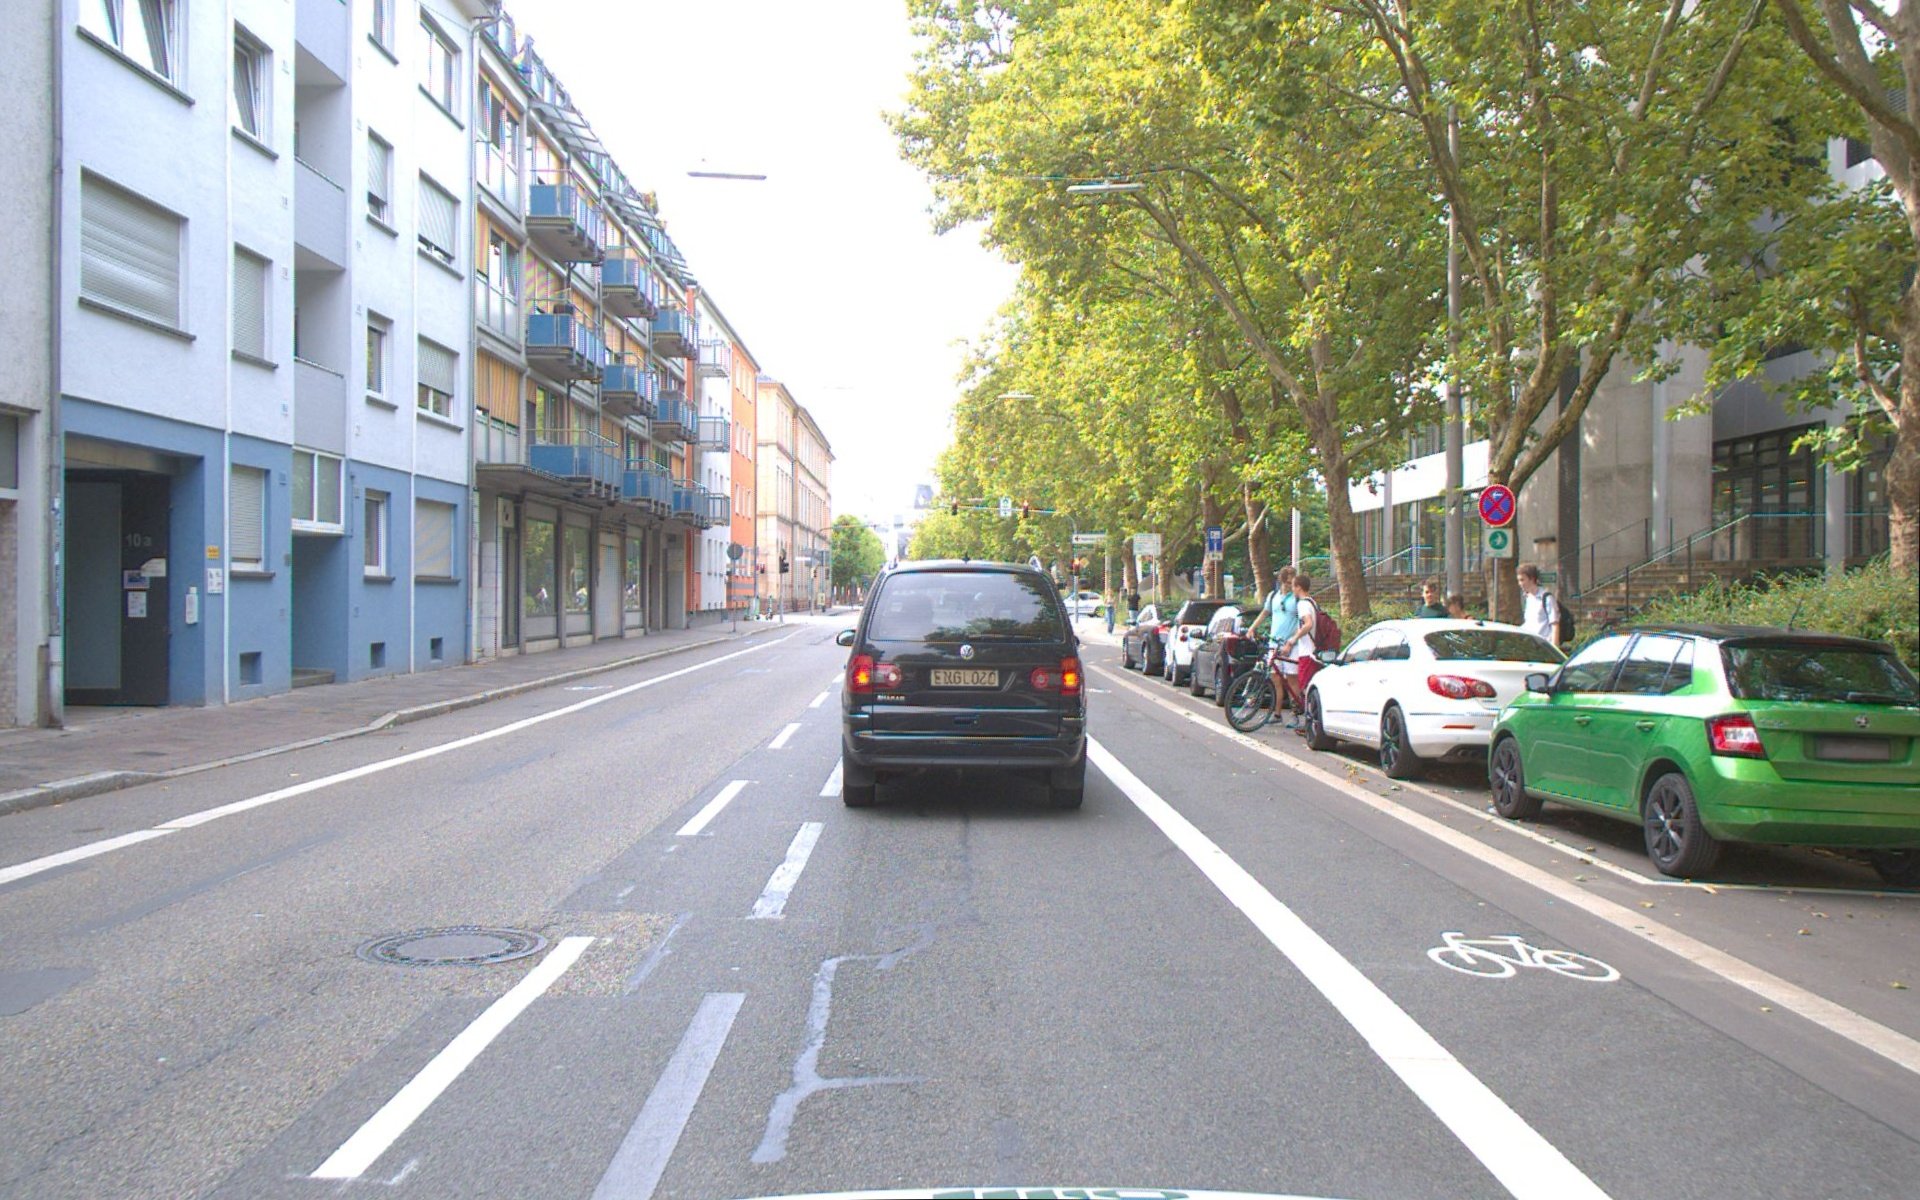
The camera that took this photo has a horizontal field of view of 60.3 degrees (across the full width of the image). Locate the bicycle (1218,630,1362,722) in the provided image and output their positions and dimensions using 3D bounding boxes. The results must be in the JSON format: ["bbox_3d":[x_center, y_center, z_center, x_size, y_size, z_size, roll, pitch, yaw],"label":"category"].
[{"bbox_3d":[4.189,0.963,20.995,1.704,1.125,0.550,1,0,-12],"label":"bicycle"}]

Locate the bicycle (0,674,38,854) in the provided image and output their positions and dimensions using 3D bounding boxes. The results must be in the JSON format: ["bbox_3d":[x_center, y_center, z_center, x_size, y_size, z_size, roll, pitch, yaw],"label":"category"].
[{"bbox_3d":[-5.912,0.974,9.018,0.633,1.032,2.076,-1,0,-1],"label":"bicycle"}]

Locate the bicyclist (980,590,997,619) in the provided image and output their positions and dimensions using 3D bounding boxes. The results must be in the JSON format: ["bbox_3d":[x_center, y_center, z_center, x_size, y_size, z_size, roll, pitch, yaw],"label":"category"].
[{"bbox_3d":[1.552,0.264,90.887,0.839,1.594,0.576,1,0,-9],"label":"bicyclist"}]

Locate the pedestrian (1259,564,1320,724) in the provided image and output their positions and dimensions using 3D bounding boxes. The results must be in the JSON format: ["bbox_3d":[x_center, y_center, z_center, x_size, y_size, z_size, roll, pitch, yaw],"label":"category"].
[{"bbox_3d":[4.126,0.538,20.723,0.466,1.968,0.742,1,0,-12],"label":"pedestrian"}]

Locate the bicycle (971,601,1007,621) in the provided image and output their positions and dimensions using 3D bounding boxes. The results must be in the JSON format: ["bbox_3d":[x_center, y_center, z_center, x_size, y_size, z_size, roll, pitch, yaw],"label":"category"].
[{"bbox_3d":[1.570,0.586,90.880,1.889,1.046,0.582,1,0,-9],"label":"bicycle"}]

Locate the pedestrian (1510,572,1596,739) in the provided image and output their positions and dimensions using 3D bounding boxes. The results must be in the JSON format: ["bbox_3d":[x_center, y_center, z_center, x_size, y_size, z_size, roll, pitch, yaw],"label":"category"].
[{"bbox_3d":[6.898,0.633,19.268,0.706,1.887,0.703,1,0,-1],"label":"pedestrian"}]

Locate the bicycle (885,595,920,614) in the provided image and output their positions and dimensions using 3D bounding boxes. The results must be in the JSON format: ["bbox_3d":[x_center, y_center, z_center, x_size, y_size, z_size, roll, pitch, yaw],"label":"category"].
[{"bbox_3d":[-3.307,0.243,95.264,1.890,1.046,0.582,1,0,-11],"label":"bicycle"}]

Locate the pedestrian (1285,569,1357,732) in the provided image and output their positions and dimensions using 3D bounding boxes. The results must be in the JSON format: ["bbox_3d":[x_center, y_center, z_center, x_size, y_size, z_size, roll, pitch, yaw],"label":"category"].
[{"bbox_3d":[4.235,0.582,19.452,0.511,1.877,0.741,1,0,-16],"label":"pedestrian"}]

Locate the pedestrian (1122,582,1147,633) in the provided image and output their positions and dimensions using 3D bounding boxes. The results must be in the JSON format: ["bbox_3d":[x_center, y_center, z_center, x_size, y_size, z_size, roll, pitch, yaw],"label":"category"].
[{"bbox_3d":[6.364,0.264,60.400,0.700,1.831,1.033,-2,0,-2],"label":"pedestrian"}]

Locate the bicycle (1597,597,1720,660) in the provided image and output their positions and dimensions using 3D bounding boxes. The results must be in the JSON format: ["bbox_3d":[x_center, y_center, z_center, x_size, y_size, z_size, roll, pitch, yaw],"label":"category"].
[{"bbox_3d":[13.216,0.531,31.336,2.037,1.137,0.673,-1,0,-1],"label":"bicycle"}]

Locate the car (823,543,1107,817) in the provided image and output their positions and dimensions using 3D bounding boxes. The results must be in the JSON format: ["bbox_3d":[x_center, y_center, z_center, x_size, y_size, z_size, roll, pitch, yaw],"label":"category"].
[{"bbox_3d":[-0.025,0.506,13.072,1.836,1.775,4.572,0,0,-2],"label":"car"}]

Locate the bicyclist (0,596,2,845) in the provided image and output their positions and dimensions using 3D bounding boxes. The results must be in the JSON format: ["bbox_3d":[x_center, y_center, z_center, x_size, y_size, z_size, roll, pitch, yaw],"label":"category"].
[{"bbox_3d":[-5.919,0.508,9.137,0.638,1.842,1.045,-1,0,-1],"label":"bicyclist"}]

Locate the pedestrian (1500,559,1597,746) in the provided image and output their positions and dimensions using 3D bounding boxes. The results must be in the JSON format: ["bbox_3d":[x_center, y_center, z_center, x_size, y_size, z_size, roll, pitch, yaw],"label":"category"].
[{"bbox_3d":[6.590,0.577,18.565,0.777,2.032,0.750,1,0,-1],"label":"pedestrian"}]

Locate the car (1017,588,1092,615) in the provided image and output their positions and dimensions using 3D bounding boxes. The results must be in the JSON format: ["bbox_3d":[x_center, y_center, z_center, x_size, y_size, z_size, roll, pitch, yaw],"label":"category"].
[{"bbox_3d":[5.457,0.062,95.899,4.012,1.452,1.758,-1,0,-11],"label":"car"}]

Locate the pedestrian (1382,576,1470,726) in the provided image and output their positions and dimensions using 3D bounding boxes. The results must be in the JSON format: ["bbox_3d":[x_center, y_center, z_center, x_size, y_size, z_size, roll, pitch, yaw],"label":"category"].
[{"bbox_3d":[5.891,0.630,20.937,0.853,1.848,0.780,1,0,-1],"label":"pedestrian"}]

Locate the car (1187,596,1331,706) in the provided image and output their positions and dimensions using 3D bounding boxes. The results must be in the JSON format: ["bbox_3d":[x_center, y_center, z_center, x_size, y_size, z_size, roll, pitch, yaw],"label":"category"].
[{"bbox_3d":[4.545,0.734,25.606,1.497,1.528,3.659,2,0,-1],"label":"car"}]

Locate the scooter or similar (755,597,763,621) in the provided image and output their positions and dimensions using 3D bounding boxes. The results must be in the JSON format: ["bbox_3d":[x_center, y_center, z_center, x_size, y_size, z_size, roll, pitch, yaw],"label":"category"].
[{"bbox_3d":[-10.170,0.454,83.690,0.370,1.167,1.141,0,-1,-4],"label":"scooter or similar"}]

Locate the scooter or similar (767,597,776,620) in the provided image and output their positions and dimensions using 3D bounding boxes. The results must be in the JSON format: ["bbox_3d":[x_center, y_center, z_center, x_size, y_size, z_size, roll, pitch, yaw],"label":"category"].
[{"bbox_3d":[-9.587,0.455,84.117,0.370,1.164,1.141,0,-1,-4],"label":"scooter or similar"}]

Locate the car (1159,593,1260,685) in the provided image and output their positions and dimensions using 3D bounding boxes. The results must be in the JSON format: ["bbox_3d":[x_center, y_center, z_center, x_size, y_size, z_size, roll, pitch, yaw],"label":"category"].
[{"bbox_3d":[4.544,0.686,30.382,1.504,1.570,2.600,2,0,2],"label":"car"}]

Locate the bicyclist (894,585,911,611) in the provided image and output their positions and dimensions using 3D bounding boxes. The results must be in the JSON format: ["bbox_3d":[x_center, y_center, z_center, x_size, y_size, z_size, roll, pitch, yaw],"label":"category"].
[{"bbox_3d":[-3.324,-0.121,95.251,0.898,1.491,0.568,1,0,-11],"label":"bicyclist"}]

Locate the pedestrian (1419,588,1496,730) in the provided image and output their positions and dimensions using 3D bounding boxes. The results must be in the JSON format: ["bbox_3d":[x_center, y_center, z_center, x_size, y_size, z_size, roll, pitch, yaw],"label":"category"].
[{"bbox_3d":[6.054,0.710,20.164,0.706,1.687,0.655,1,0,-1],"label":"pedestrian"}]

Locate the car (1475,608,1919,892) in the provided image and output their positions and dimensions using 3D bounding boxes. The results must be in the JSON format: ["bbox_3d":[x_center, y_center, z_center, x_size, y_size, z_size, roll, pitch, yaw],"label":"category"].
[{"bbox_3d":[4.898,0.843,10.964,1.556,1.475,3.803,3,0,-3],"label":"car"}]

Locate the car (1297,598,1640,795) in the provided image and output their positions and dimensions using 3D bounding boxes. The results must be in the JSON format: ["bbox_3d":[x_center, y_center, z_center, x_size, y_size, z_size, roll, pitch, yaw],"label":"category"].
[{"bbox_3d":[4.667,0.798,15.928,1.647,1.542,4.541,3,0,-3],"label":"car"}]

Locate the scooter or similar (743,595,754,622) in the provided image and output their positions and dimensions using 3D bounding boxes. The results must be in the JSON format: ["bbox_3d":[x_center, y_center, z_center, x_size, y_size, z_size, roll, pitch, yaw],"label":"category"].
[{"bbox_3d":[-9.907,0.399,77.479,0.370,1.204,1.389,0,-1,-1],"label":"scooter or similar"}]

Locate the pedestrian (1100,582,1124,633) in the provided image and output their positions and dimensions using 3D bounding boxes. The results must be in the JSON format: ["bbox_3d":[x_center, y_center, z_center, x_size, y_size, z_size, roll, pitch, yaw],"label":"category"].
[{"bbox_3d":[5.547,0.285,60.332,0.696,1.814,1.033,-2,0,-2],"label":"pedestrian"}]

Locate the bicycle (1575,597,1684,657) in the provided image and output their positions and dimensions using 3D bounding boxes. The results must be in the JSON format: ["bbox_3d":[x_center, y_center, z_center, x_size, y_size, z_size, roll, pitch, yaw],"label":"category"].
[{"bbox_3d":[13.221,0.534,32.673,1.876,1.137,0.673,-1,0,-1],"label":"bicycle"}]

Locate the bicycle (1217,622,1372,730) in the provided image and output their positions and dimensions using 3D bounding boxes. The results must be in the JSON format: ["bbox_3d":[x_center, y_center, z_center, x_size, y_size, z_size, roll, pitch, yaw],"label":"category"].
[{"bbox_3d":[3.980,0.899,19.684,1.761,1.238,0.550,1,0,-19],"label":"bicycle"}]

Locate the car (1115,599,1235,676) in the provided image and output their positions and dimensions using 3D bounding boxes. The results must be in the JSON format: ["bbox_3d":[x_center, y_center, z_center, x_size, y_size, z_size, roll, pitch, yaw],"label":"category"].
[{"bbox_3d":[4.428,0.730,34.598,1.664,1.450,4.419,2,0,-3],"label":"car"}]
